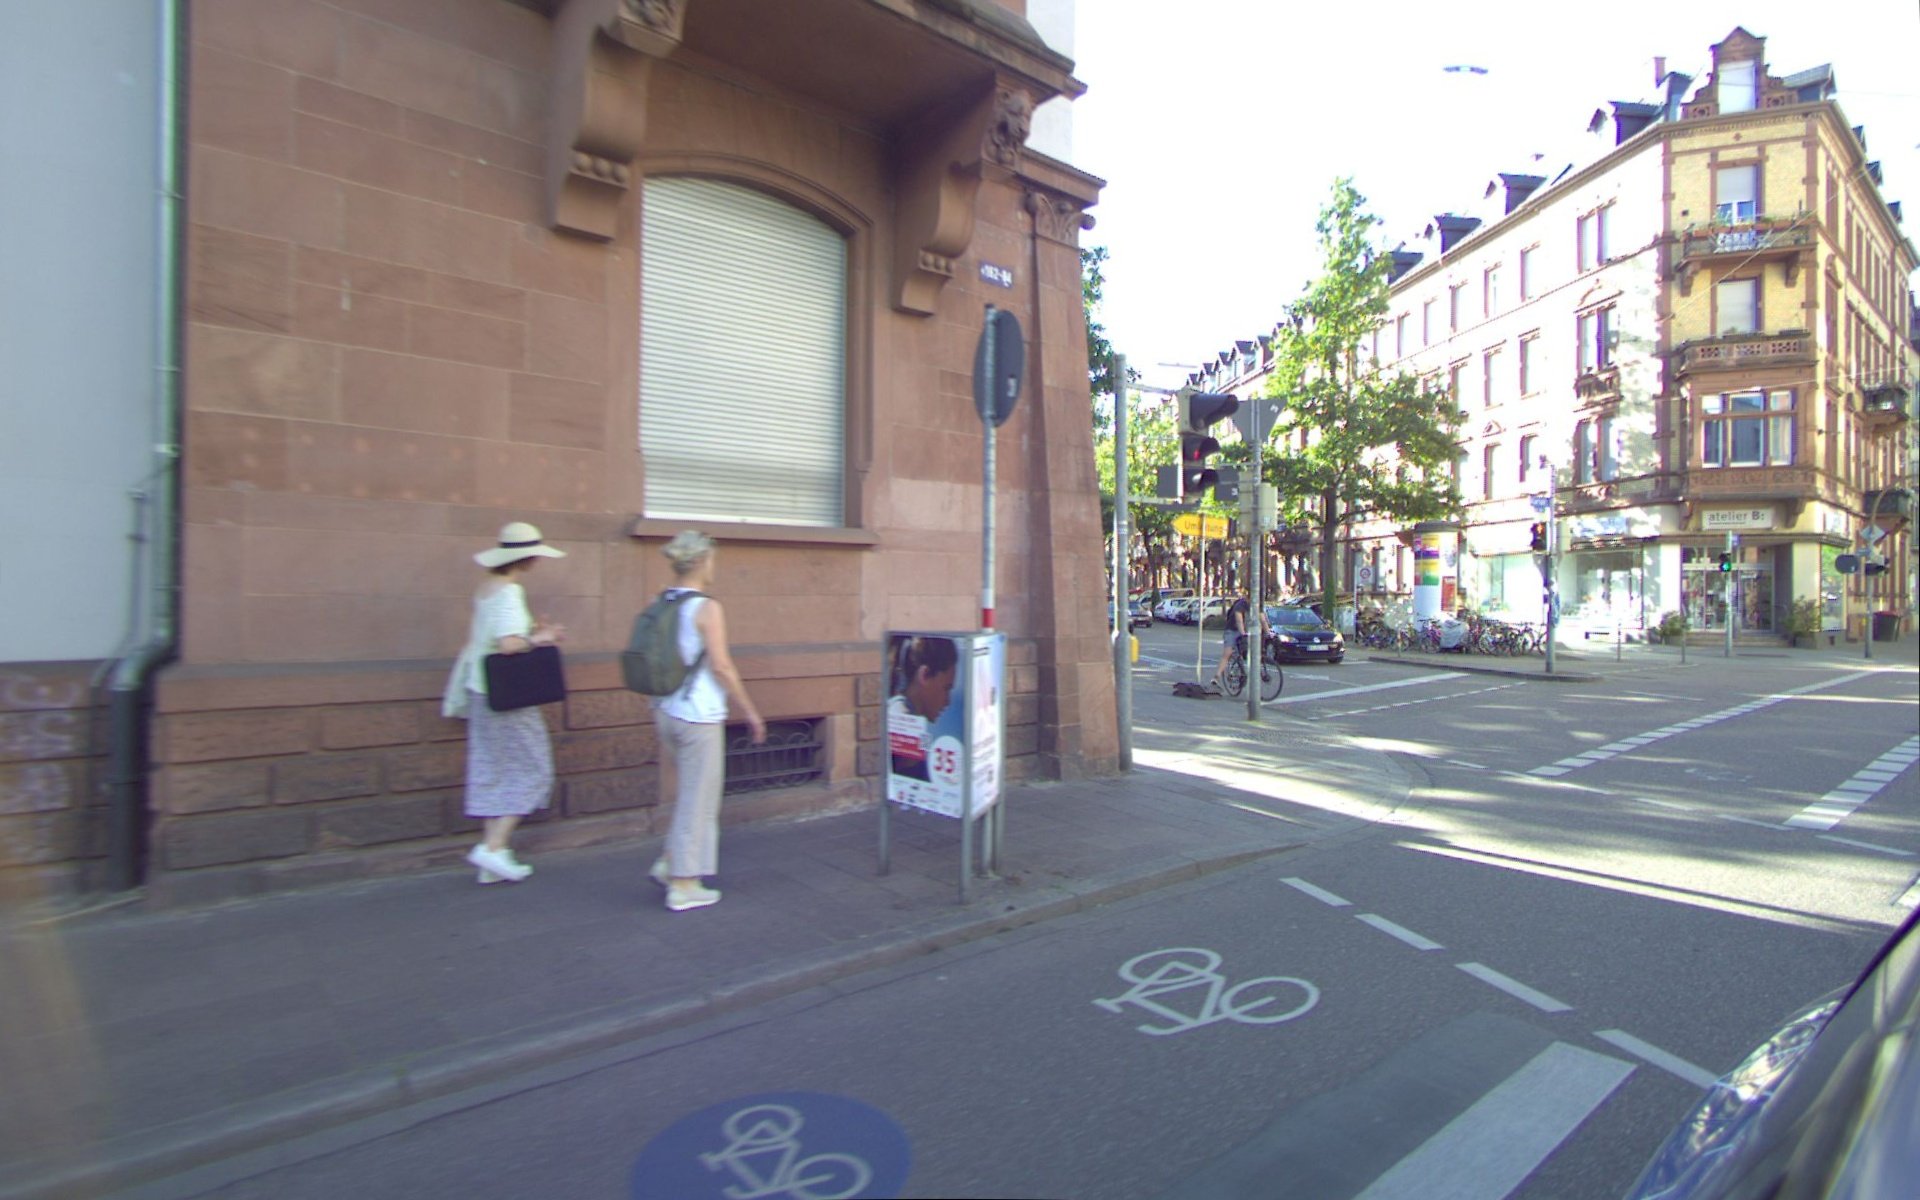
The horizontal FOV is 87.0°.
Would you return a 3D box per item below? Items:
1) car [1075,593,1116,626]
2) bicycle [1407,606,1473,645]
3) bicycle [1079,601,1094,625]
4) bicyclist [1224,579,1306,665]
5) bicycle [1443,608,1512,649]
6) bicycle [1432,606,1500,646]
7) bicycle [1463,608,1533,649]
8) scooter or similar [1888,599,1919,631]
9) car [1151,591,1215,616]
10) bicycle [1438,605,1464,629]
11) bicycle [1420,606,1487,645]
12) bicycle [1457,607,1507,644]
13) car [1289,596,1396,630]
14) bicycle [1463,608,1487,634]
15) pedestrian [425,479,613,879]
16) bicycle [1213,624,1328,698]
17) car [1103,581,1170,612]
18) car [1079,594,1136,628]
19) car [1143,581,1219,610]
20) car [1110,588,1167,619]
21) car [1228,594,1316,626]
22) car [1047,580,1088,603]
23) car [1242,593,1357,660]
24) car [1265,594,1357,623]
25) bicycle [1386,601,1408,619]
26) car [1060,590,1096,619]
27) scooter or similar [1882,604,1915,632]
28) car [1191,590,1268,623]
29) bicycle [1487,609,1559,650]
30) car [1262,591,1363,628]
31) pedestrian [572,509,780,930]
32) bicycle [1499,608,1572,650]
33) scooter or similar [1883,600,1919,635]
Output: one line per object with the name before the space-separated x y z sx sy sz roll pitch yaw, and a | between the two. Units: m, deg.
car | 7.123 0.458 53.474 1.812 1.625 4.247 -1 1 3
bicycle | 15.821 0.834 33.345 2.076 1.157 0.619 -2 1 -18
bicycle | 5.734 0.579 46.009 0.390 1.056 1.879 0 0 -1
bicyclist | 5.016 0.349 16.726 0.820 1.360 1.137 1 0 -14
bicycle | 16.154 0.880 31.593 2.076 1.157 0.619 -2 1 -18
bicycle | 16.065 0.801 32.138 2.076 1.157 0.619 -2 1 -18
bicycle | 16.422 0.860 30.888 2.076 1.157 0.619 -2 1 -18
scooter or similar | 36.446 0.585 39.050 0.776 1.162 0.792 0 4 -42
car | 13.959 0.199 63.373 3.608 1.544 1.554 0 0 -9
bicycle | 21.067 0.727 43.434 0.389 0.969 1.288 0 0 -5
bicycle | 15.990 0.818 32.770 2.076 1.157 0.619 -2 1 -18
bicycle | 17.694 0.859 34.289 1.583 1.157 0.545 -2 1 -18
car | 16.334 0.535 43.290 3.917 1.388 1.829 0 0 -10
bicycle | 21.250 0.855 41.753 0.389 1.016 1.000 0 0 -5
pedestrian | -2.210 0.354 5.062 0.661 1.805 0.706 1 -1 -42
bicycle | 5.054 0.963 16.632 0.830 1.058 2.101 -1 0 -13
car | 12.736 -0.249 73.143 4.381 2.230 1.850 0 0 -9
car | 6.995 0.495 48.244 1.809 1.517 4.254 -1 1 -4
car | 14.559 -0.286 66.734 4.577 1.855 1.553 0 0 -6
car | 9.939 0.170 56.755 1.807 1.625 4.257 -1 1 -9
car | 15.583 0.514 50.653 3.917 1.544 1.554 0 0 -10
car | 10.975 -0.896 103.884 3.919 2.351 1.553 0 0 -6
car | 8.530 0.615 25.832 1.813 1.517 4.245 -1 1 5
car | 16.894 0.410 48.710 3.917 1.374 1.554 0 0 -10
bicycle | 20.821 0.462 48.227 0.389 0.808 1.347 0 0 -5
car | 6.923 0.218 59.658 1.812 1.625 4.247 0 1 3
scooter or similar | 35.477 0.671 38.272 0.669 0.969 0.792 0 4 -42
car | 14.773 0.343 55.570 3.784 1.780 1.523 0 0 -10
bicycle | 16.918 0.864 30.402 2.075 1.157 0.619 -1 1 -18
car | 15.943 0.417 45.819 3.917 1.621 1.829 0 0 -11
pedestrian | -1.288 0.485 4.605 0.625 1.722 0.672 0 0 41
bicycle | 17.021 0.849 29.943 2.076 1.157 0.619 -1 1 -18
scooter or similar | 34.134 0.629 36.681 0.538 1.162 0.899 0 4 -42
